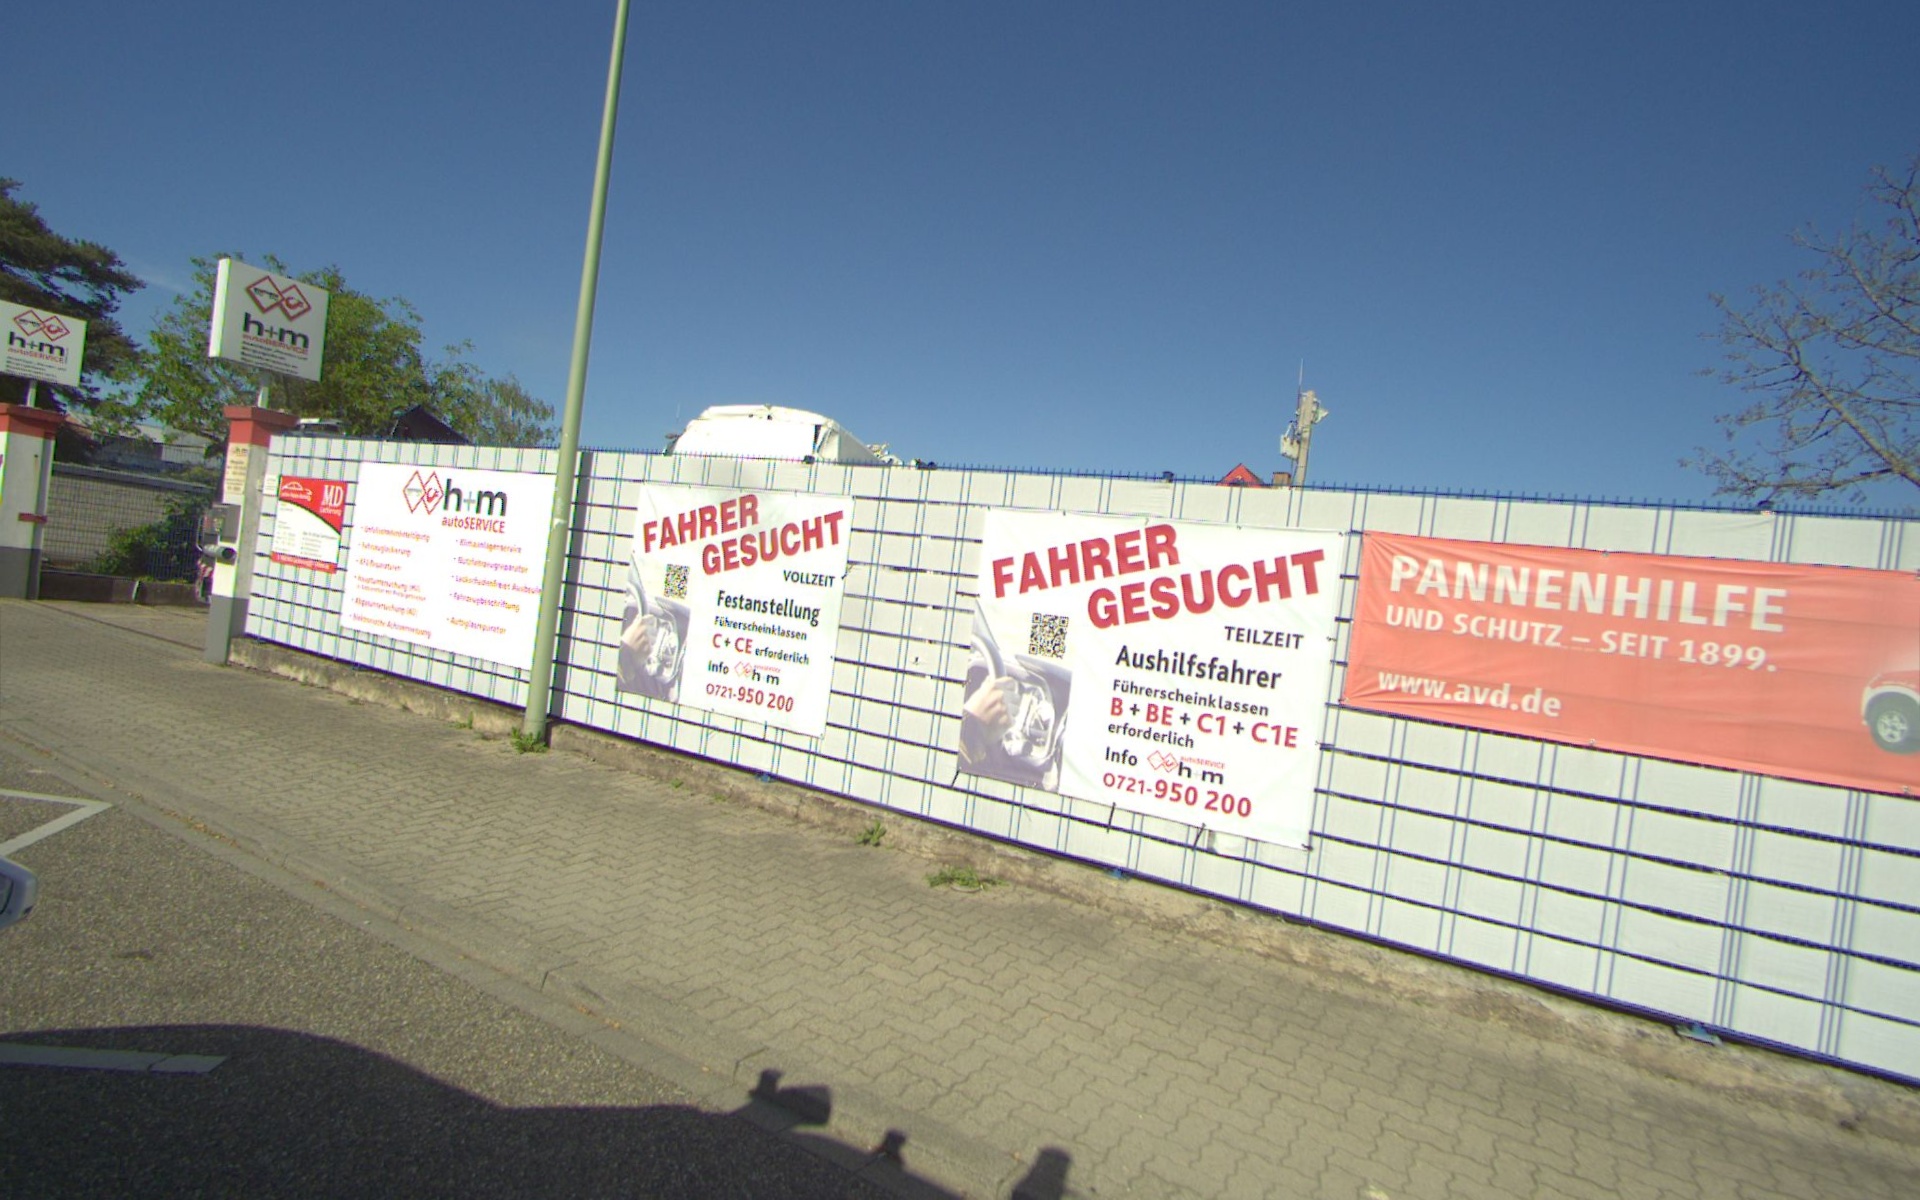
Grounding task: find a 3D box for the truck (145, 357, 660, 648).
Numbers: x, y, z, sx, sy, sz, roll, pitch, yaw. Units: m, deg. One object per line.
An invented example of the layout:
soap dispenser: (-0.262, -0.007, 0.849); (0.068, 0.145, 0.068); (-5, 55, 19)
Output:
truck: (-9.235, -1.343, 17.880); (2.783, 3.816, 7.392); (7, -1, 27)
